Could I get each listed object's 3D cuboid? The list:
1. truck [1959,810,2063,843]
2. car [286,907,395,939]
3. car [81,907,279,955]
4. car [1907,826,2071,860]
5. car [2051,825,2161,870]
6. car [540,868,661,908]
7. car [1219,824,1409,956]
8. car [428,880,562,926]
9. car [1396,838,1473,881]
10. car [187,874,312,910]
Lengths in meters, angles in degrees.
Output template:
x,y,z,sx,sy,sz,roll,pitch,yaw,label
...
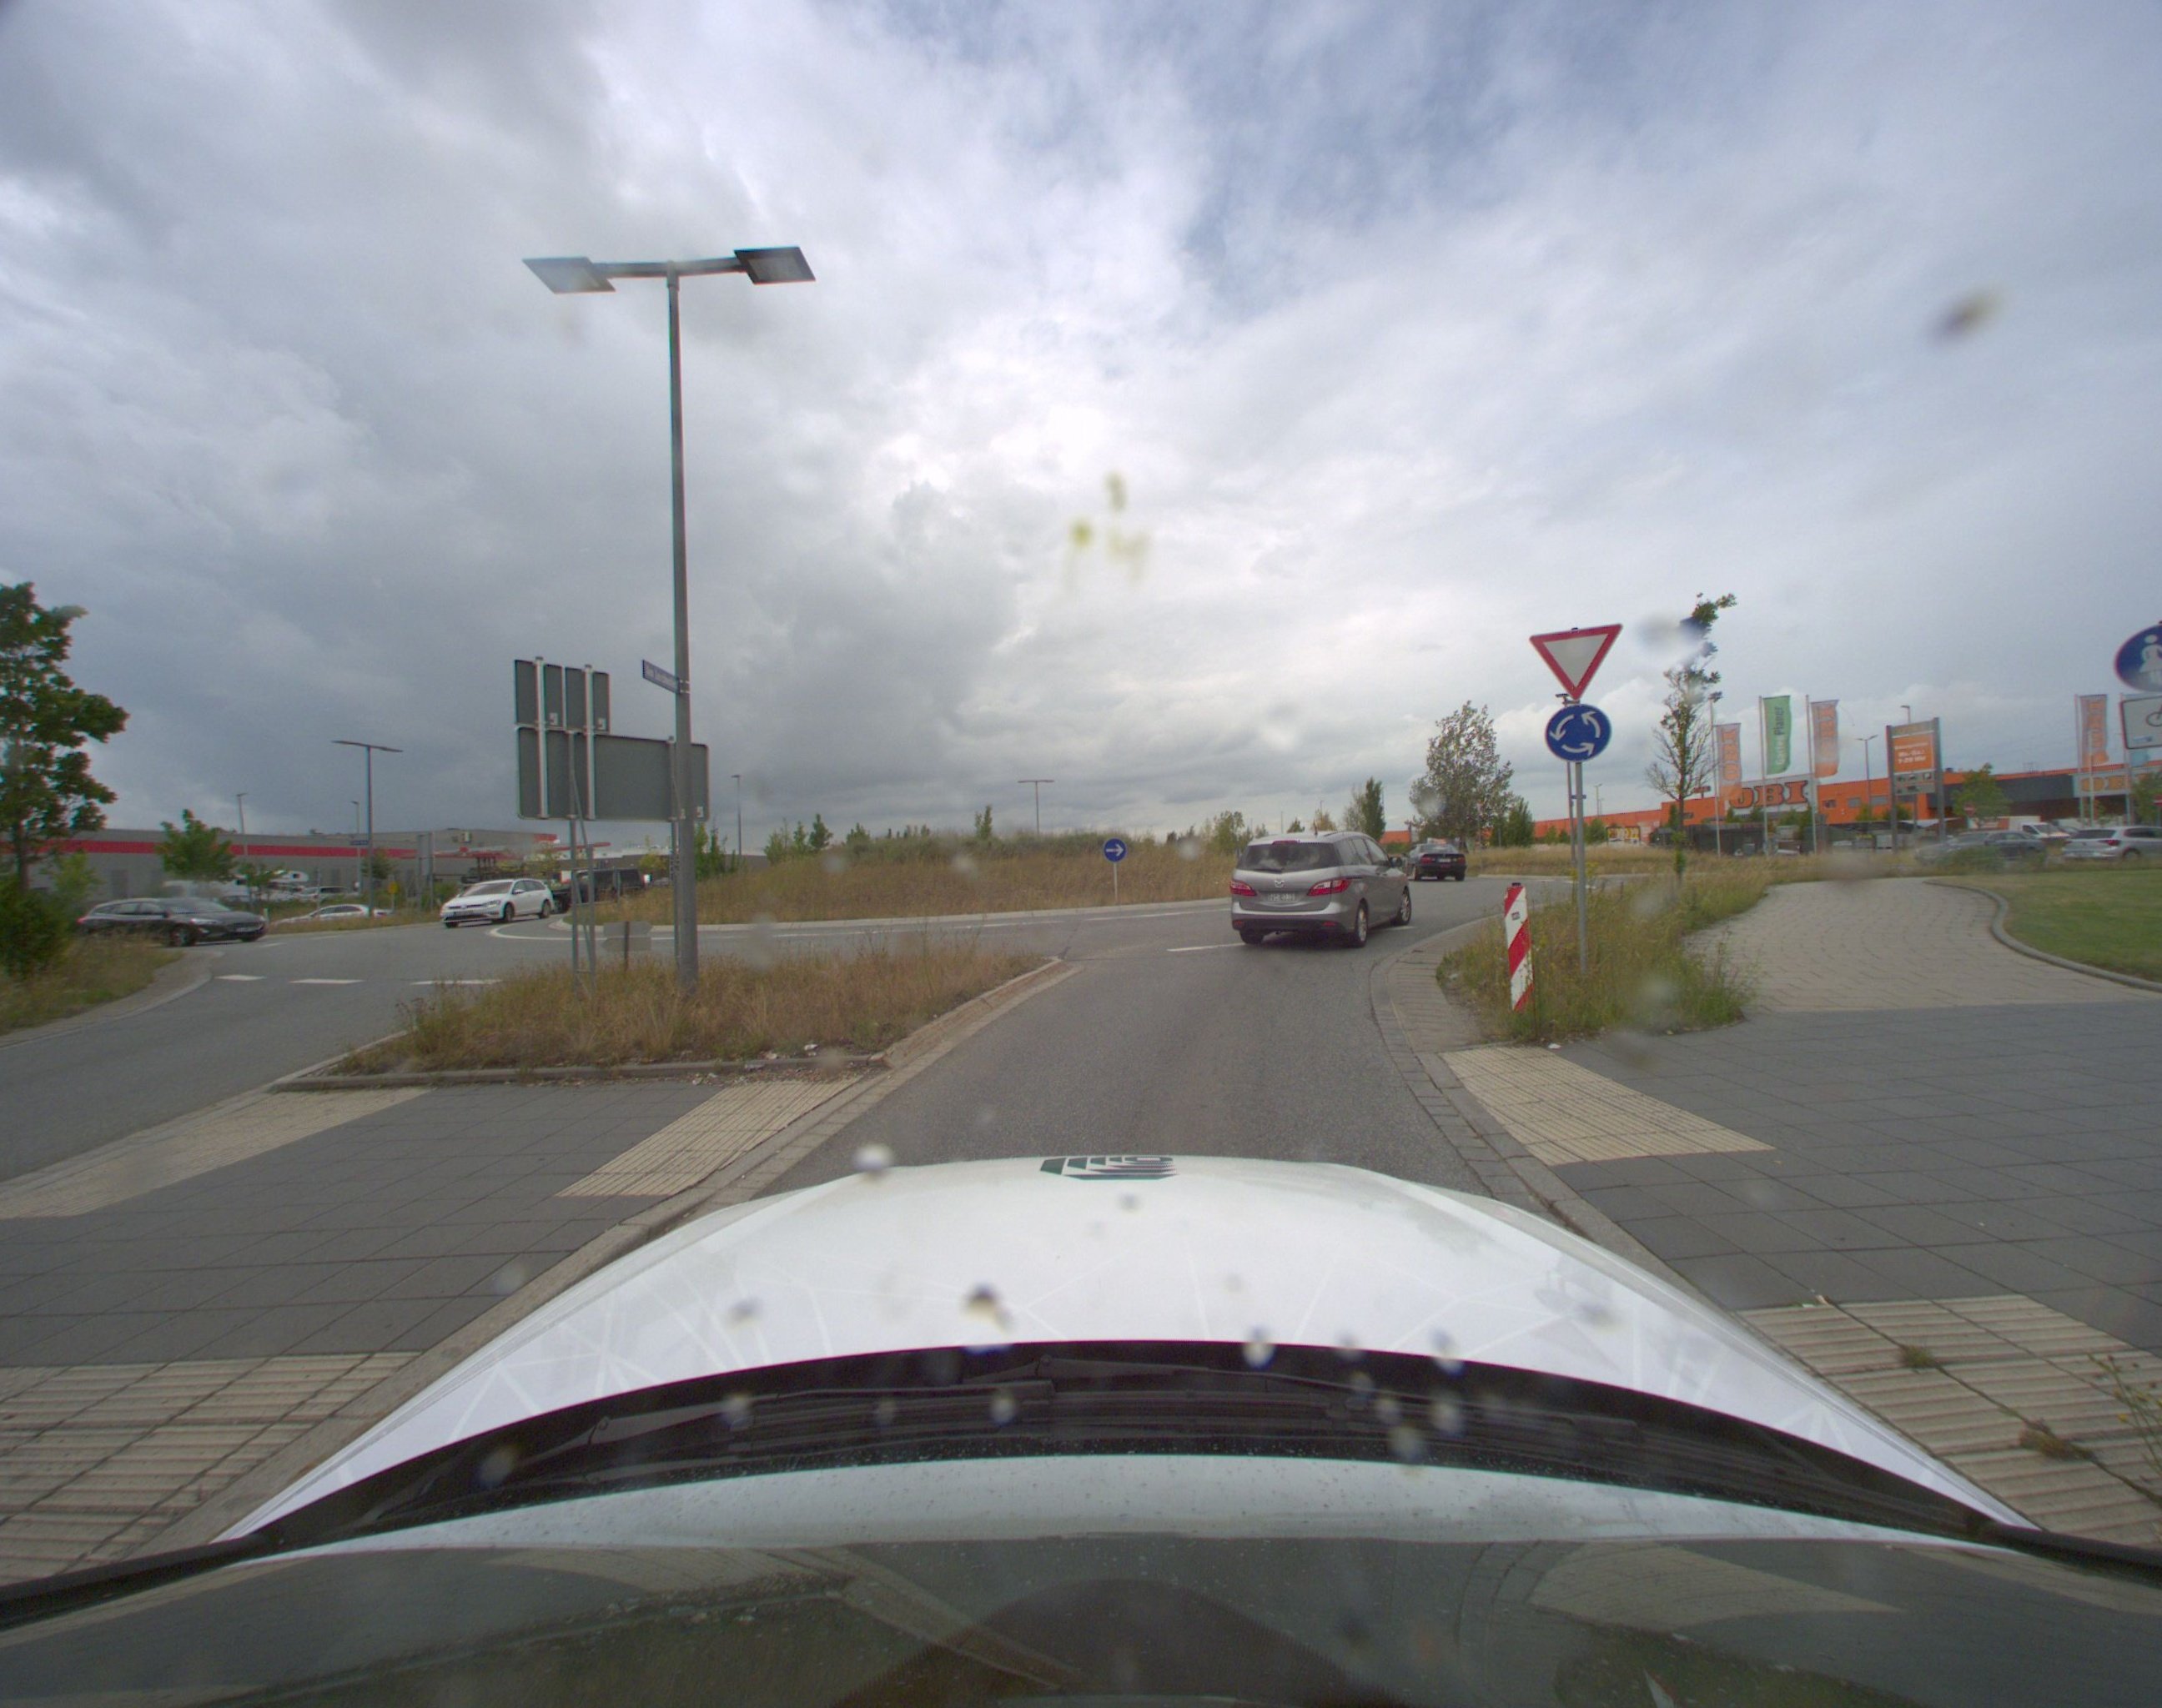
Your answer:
x,y,z,sx,sy,sz,roll,pitch,yaw,label
81.042,-2.321,71.146,2.430,2.484,5.536,0,-2,-7,truck
-37.189,3.466,41.010,3.753,1.301,1.487,-2,-1,-25,car
-26.296,2.221,23.898,3.582,1.251,1.671,0,-2,-9,car
39.219,-0.446,35.288,4.648,1.404,1.932,-1,0,6,car
37.927,-0.252,29.129,3.963,1.464,1.819,-1,2,9,car
-21.878,1.527,37.338,4.655,1.753,1.712,1,-3,-29,car
3.717,0.394,12.446,1.721,1.598,4.024,0,3,32,car
-19.520,1.594,27.405,1.722,1.409,4.627,0,-2,-9,car
12.685,0.149,29.455,1.726,1.403,4.011,-2,1,12,car
-68.266,3.087,67.161,2.456,2.820,7.682,0,-2,-2,car
